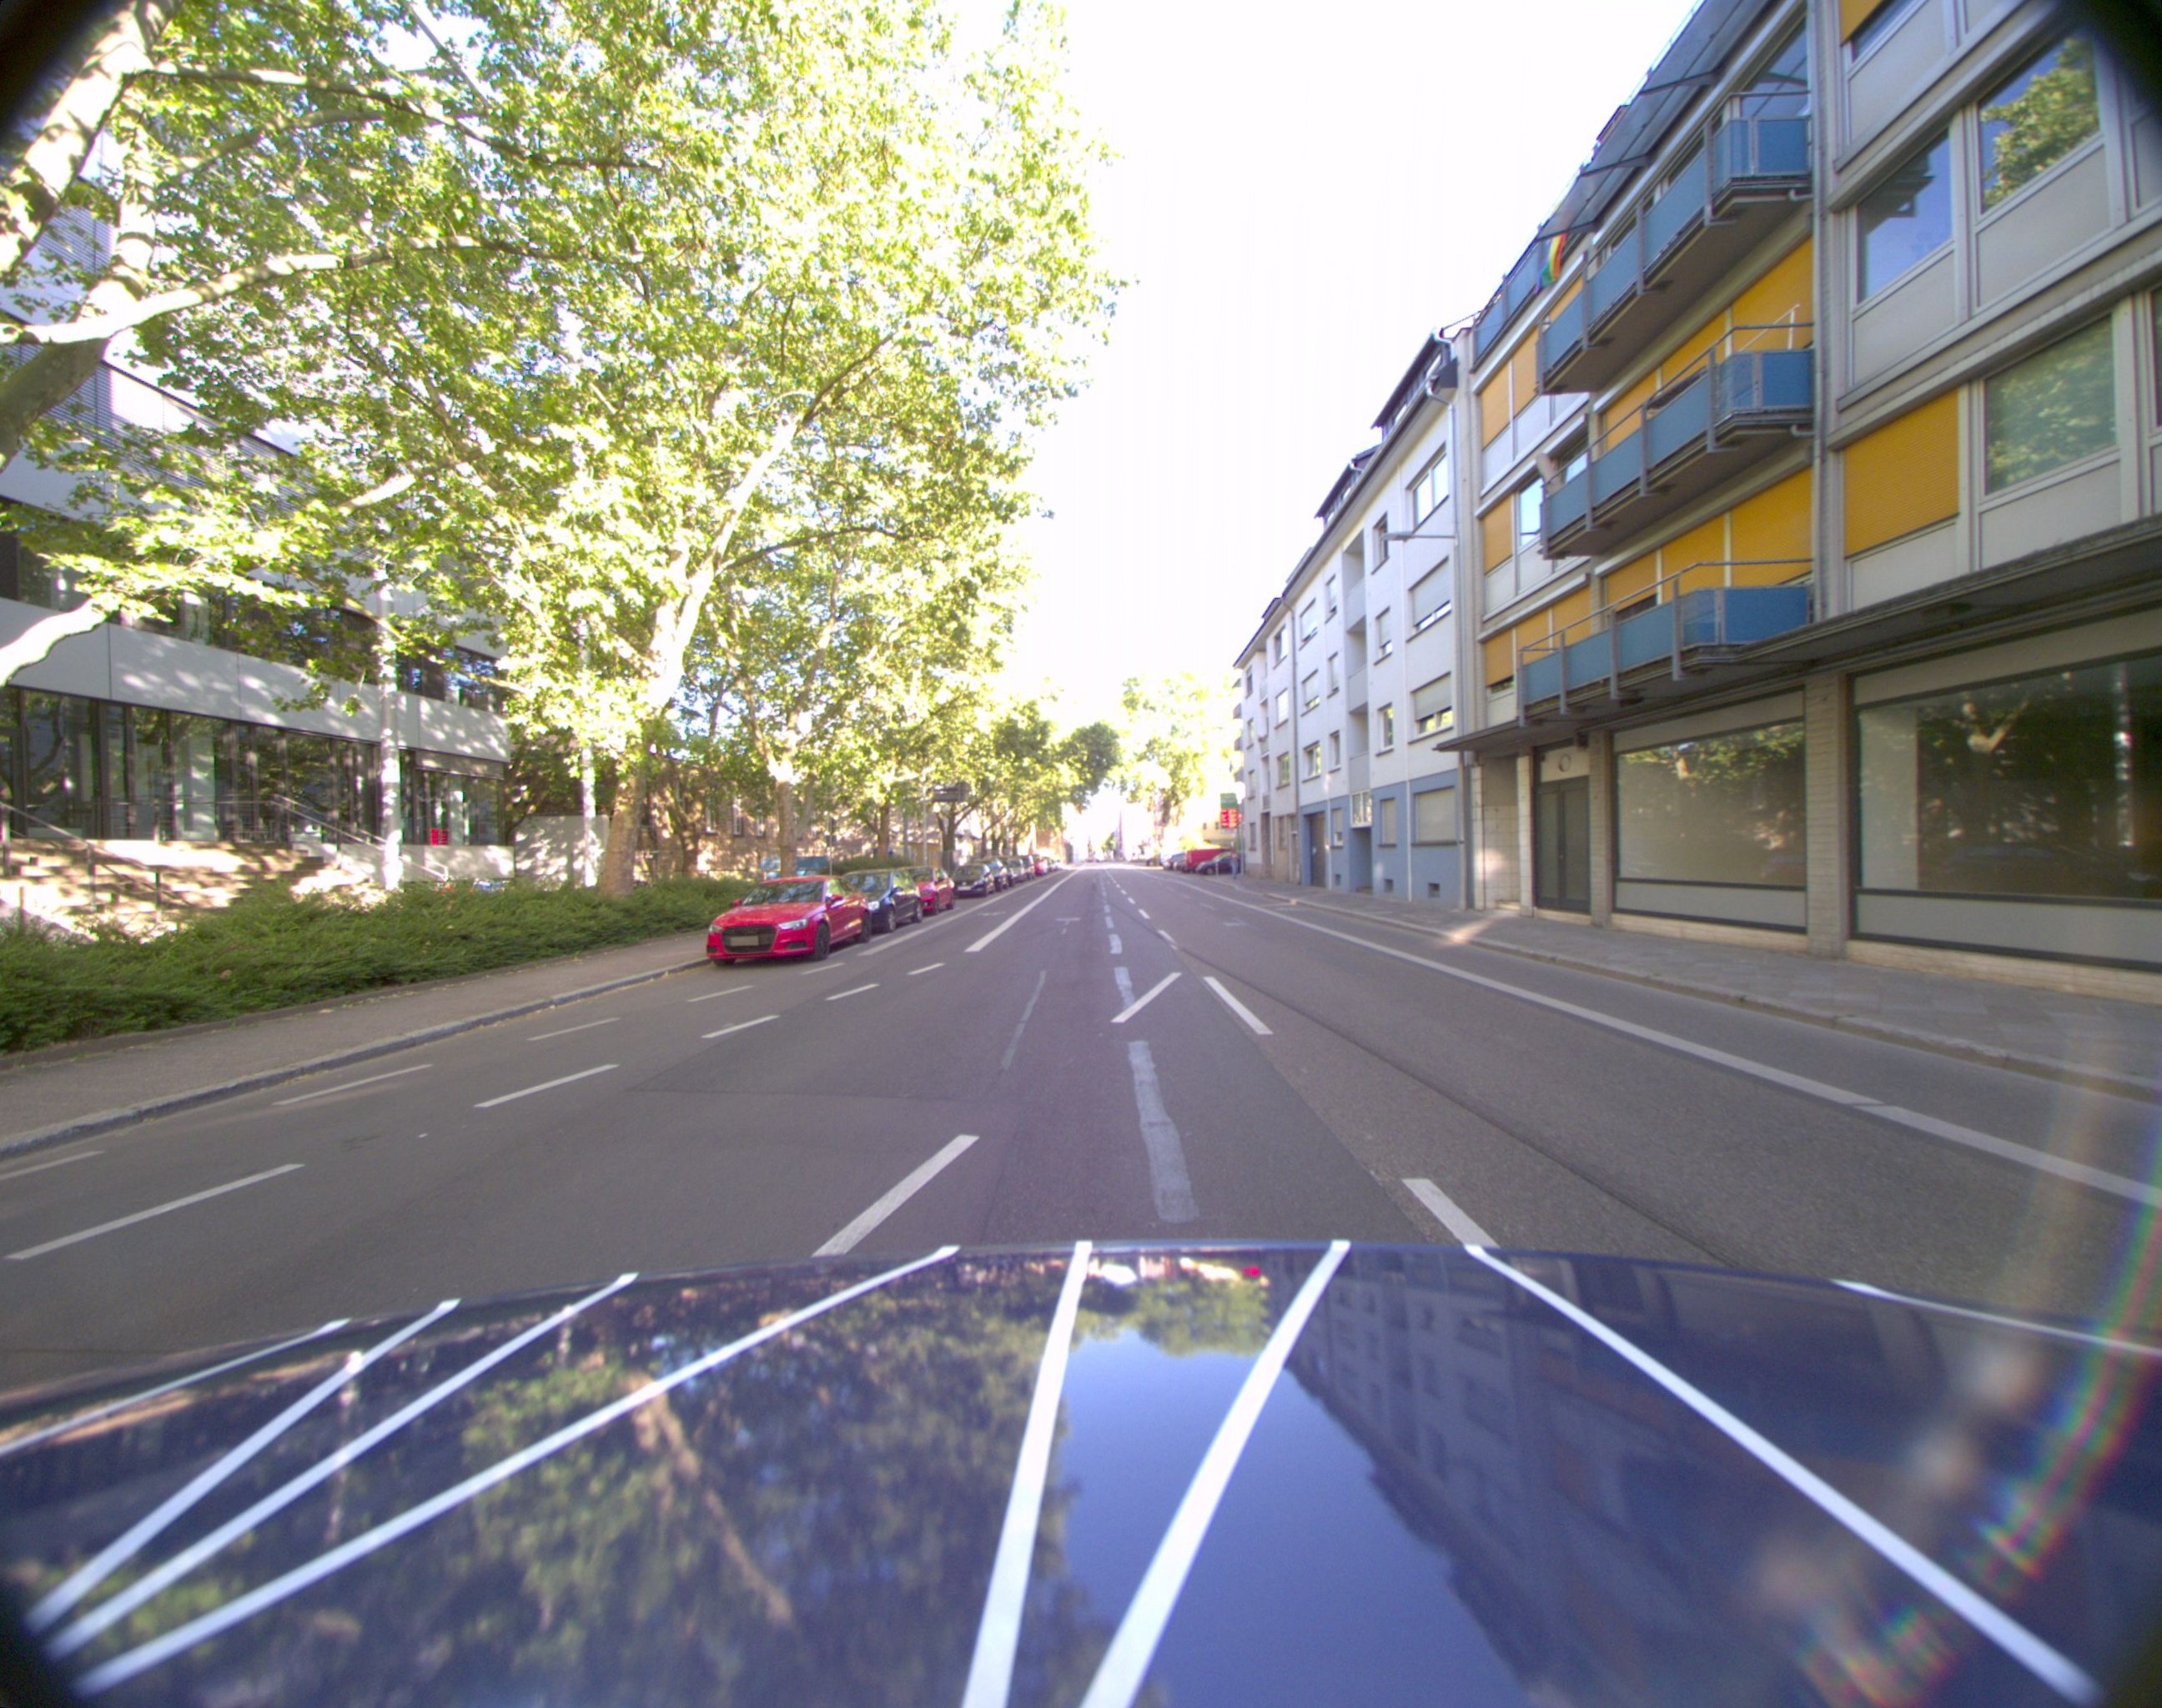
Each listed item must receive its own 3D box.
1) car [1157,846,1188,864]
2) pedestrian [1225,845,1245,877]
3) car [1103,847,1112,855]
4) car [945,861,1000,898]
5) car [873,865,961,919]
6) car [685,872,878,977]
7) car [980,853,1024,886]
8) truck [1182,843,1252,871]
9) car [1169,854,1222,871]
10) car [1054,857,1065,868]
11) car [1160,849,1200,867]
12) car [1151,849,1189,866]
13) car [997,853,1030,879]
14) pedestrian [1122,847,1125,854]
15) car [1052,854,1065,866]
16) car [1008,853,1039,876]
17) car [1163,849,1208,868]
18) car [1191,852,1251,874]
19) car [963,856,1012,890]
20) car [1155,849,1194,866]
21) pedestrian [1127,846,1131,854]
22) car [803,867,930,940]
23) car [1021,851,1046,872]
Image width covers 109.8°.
[{"bbox_3d":[10.236,0.098,85.269,3.267,1.927,1.693,-2,1,2],"label":"car"},{"bbox_3d":[8.623,0.392,42.616,0.896,1.761,0.741,-2,1,1],"label":"pedestrian"},{"bbox_3d":[6.776,-0.819,193.464,1.998,2.002,3.999,-2,1,1],"label":"car"},{"bbox_3d":[-4.674,1.079,33.267,1.745,1.430,4.000,-1,0,1],"label":"car"},{"bbox_3d":[-4.994,1.118,23.653,1.790,1.429,4.000,-1,0,1],"label":"car"},{"bbox_3d":[-5.126,1.127,13.697,1.775,1.416,4.173,-3,0,0],"label":"car"},{"bbox_3d":[-4.542,0.864,44.196,1.998,1.715,4.262,-2,1,1],"label":"car"},{"bbox_3d":[10.731,0.231,60.098,5.088,2.009,2.000,-2,1,0],"label":"truck"},{"bbox_3d":[9.428,0.681,62.820,4.033,1.265,1.906,-2,1,-1],"label":"car"},{"bbox_3d":[-2.623,1.014,92.419,1.300,1.220,3.241,-1,1,0],"label":"car"},{"bbox_3d":[9.884,0.373,75.913,3.658,1.578,1.659,-2,1,-5],"label":"car"},{"bbox_3d":[9.491,0.365,80.862,3.728,1.579,1.743,-2,1,-5],"label":"car"},{"bbox_3d":[-4.437,0.734,50.457,1.798,1.608,4.075,-1,0,1],"label":"car"},{"bbox_3d":[11.223,-0.927,200.425,0.711,1.981,0.613,-3,2,-41],"label":"pedestrian"},{"bbox_3d":[-3.013,0.807,102.828,1.707,1.459,3.809,-1,0,0],"label":"car"},{"bbox_3d":[-4.165,0.745,55.513,1.831,1.608,4.177,-1,0,1],"label":"car"},{"bbox_3d":[10.088,0.415,73.366,3.998,1.618,1.702,-2,1,-5],"label":"car"},{"bbox_3d":[10.075,0.650,54.894,3.997,1.385,1.781,-2,1,-1],"label":"car"},{"bbox_3d":[-4.620,0.917,38.213,1.848,1.572,4.232,-2,0,1],"label":"car"},{"bbox_3d":[9.620,0.369,78.571,3.703,1.573,1.718,-2,1,-5],"label":"car"},{"bbox_3d":[12.565,-0.961,199.808,0.535,2.002,0.769,-1,2,42],"label":"pedestrian"},{"bbox_3d":[-5.048,1.117,18.452,1.813,1.449,4.000,-1,0,2],"label":"car"},{"bbox_3d":[-4.103,0.608,66.183,1.876,1.685,4.166,-1,0,1],"label":"car"}]
